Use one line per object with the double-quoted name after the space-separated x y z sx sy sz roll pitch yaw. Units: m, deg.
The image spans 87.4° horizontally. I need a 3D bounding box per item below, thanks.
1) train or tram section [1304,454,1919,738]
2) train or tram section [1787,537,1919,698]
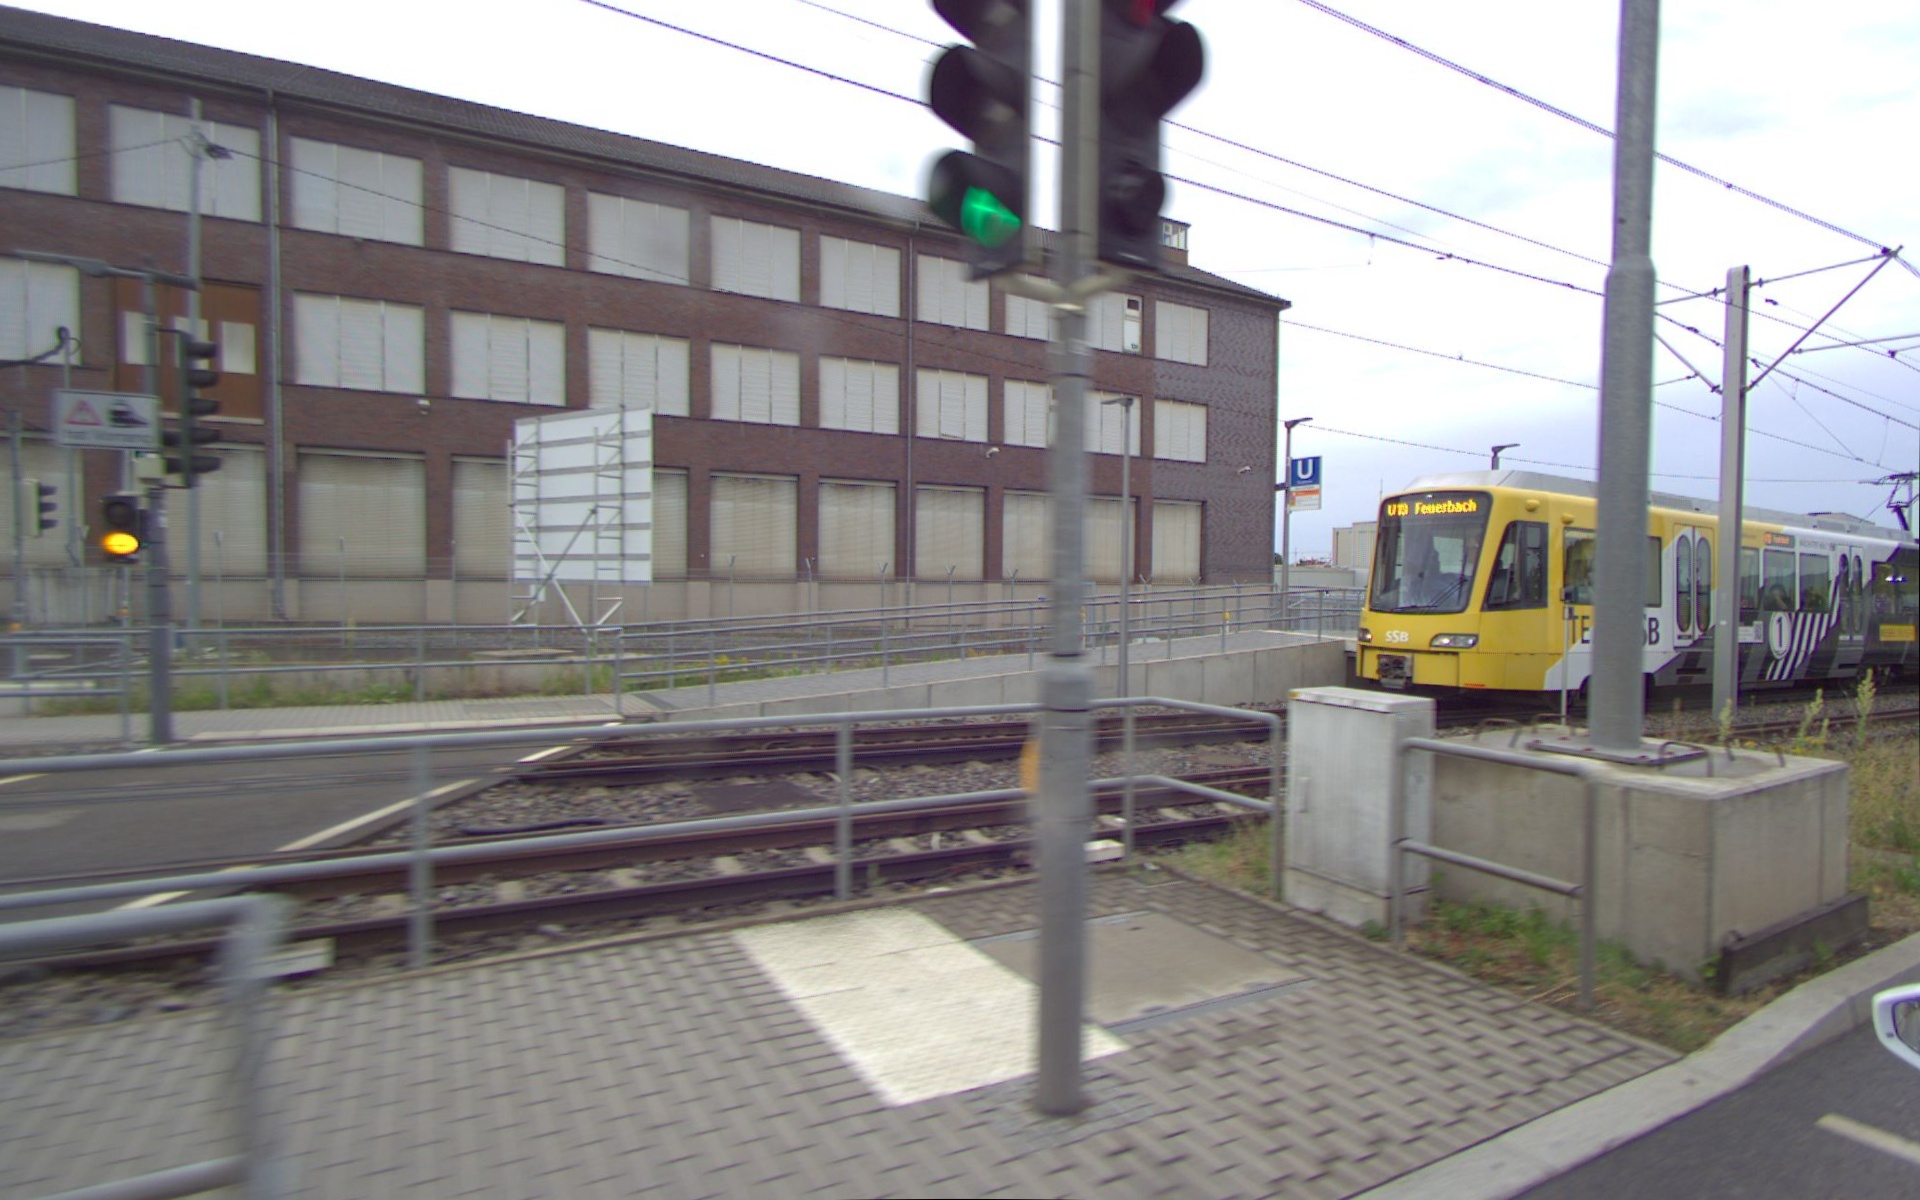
14.653 0.159 20.338 19.355 3.938 2.939 2 1 -32 "train or tram section"
30.865 0.632 30.709 19.083 3.938 2.938 2 1 -33 "train or tram section"
